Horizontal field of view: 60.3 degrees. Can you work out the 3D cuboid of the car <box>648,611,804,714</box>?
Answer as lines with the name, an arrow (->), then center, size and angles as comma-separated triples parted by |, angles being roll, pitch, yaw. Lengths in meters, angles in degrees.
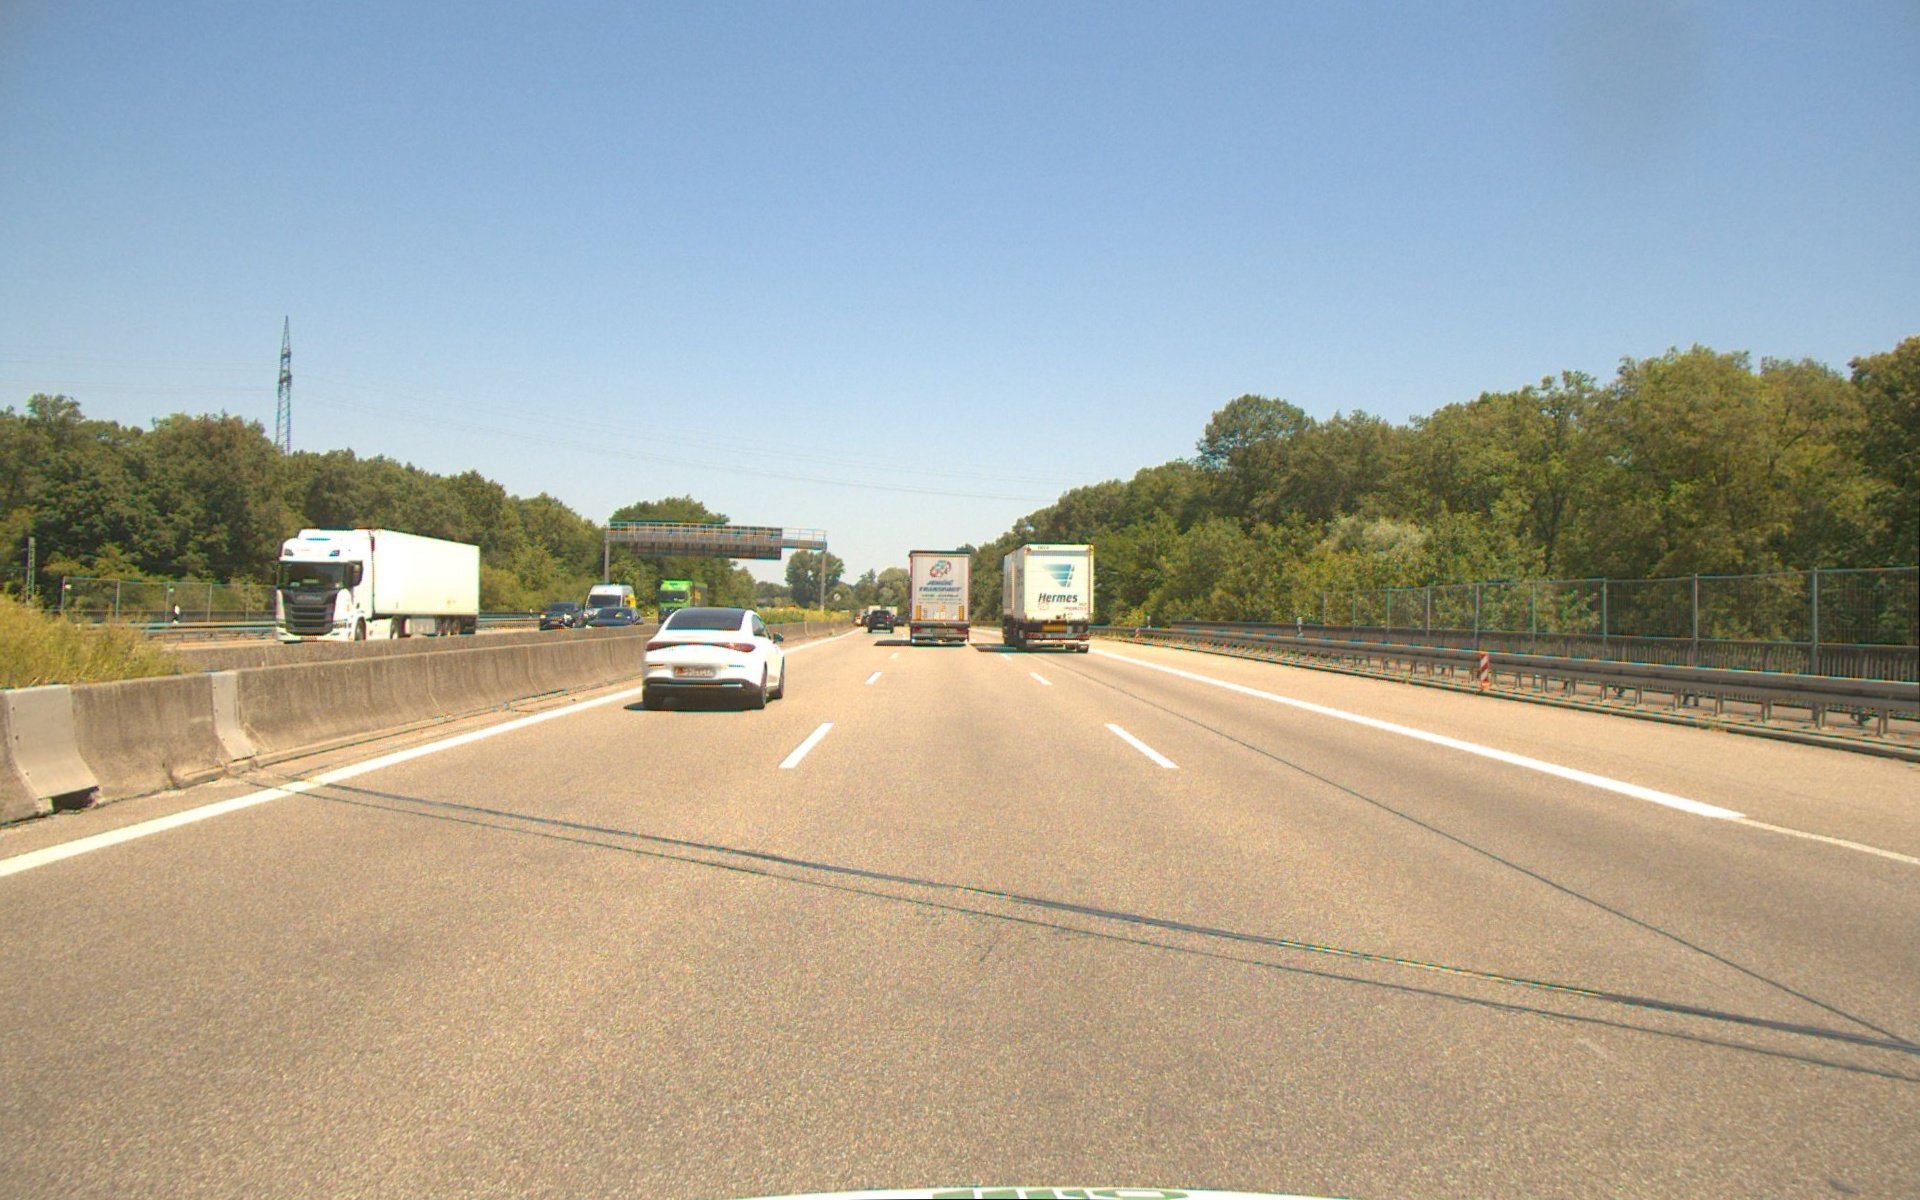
car -> -3.652, 0.935, 26.687 | 1.730, 1.474, 5.108 | 1, 0, 0

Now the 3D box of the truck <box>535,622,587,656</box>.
truck -> -22.480, 2.175, 93.364 | 1.953, 1.832, 4.740 | 1, -1, -2

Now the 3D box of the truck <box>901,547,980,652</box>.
truck -> -0.934, 0.025, 71.988 | 3.164, 4.276, 8.462 | 1, -1, -2

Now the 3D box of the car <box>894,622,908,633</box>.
car -> -8.873, 4.132, 248.087 | 1.954, 1.624, 3.997 | 0, -1, -3

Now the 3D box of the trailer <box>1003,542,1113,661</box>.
trailer -> 3.618, 0.059, 63.589 | 3.300, 4.215, 9.087 | 1, 0, -3

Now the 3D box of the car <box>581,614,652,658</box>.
car -> -13.690, 1.432, 66.139 | 1.953, 1.657, 5.012 | 1, -1, -2

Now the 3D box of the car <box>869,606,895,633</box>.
car -> -5.873, 1.465, 124.627 | 1.954, 1.907, 3.998 | 1, 0, -3

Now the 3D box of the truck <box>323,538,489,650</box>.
truck -> -21.862, -0.196, 66.109 | 2.987, 4.046, 11.146 | 1, 0, -1

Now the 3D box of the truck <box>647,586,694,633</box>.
truck -> -25.147, 0.846, 143.956 | 2.862, 4.010, 6.497 | 1, 0, 0

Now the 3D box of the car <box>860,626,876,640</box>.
car -> -11.237, 4.017, 202.083 | 1.954, 1.624, 3.997 | 0, -1, -3

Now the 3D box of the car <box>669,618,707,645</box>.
car -> -18.618, 2.140, 113.462 | 1.959, 1.742, 4.537 | 1, -1, -2

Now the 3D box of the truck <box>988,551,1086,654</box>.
truck -> 3.215, 0.055, 72.648 | 3.259, 4.124, 10.948 | 1, 0, -3

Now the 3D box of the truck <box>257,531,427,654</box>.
truck -> -21.737, -0.224, 58.786 | 2.987, 4.046, 8.285 | 1, 0, -1

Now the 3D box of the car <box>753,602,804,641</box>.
car -> -9.964, 1.182, 91.218 | 2.245, 2.049, 4.710 | 1, 0, 0

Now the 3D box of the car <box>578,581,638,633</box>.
car -> -18.354, 0.389, 86.434 | 1.953, 2.613, 6.126 | 1, -1, -2
